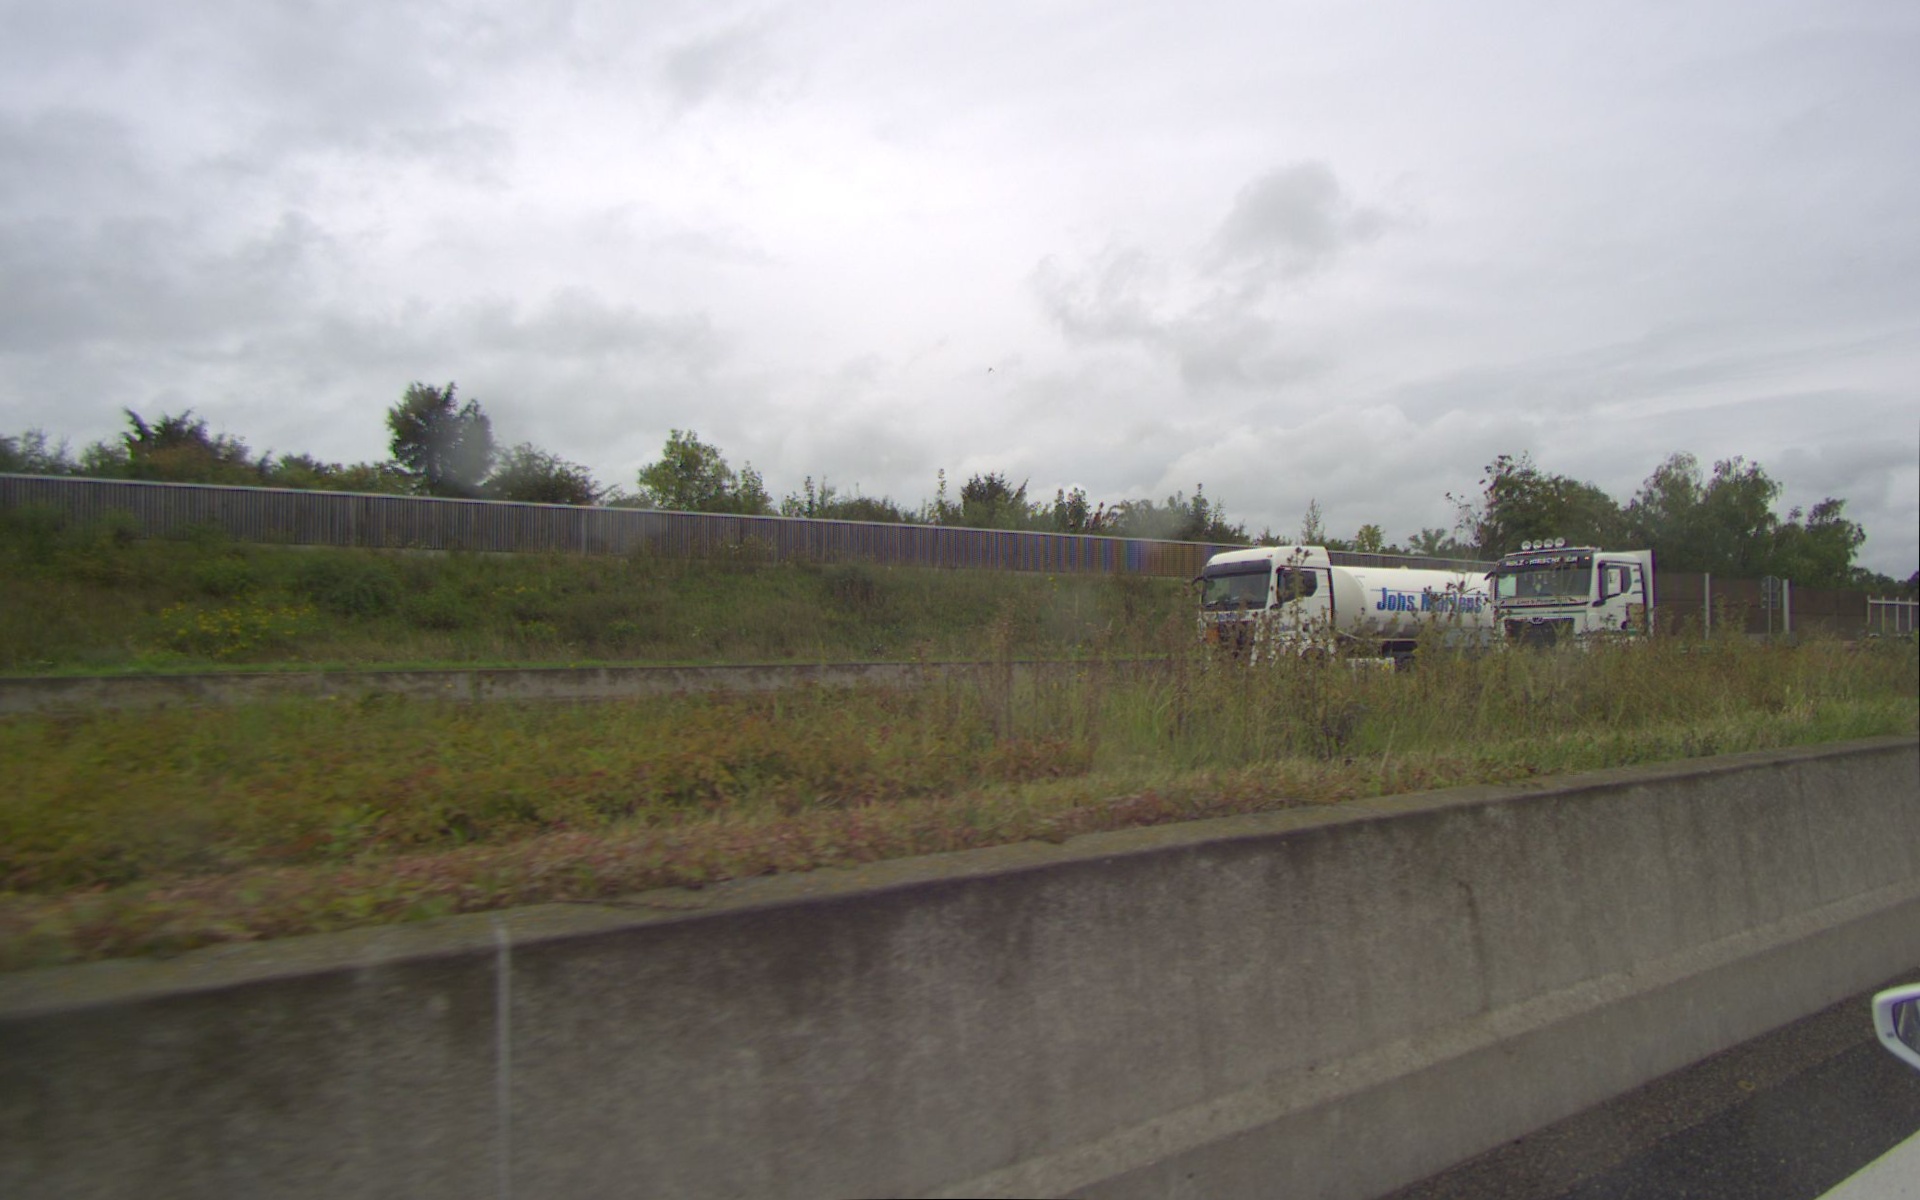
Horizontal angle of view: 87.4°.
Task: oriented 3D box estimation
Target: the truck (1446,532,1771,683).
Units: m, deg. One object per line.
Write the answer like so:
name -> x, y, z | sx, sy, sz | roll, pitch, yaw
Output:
truck -> 15.742, 0.229, 24.149 | 8.624, 3.108, 2.942 | 1, 0, -30

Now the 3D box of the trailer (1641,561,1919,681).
trailer -> 24.024, 0.610, 29.002 | 10.443, 2.999, 2.942 | 1, 0, -30

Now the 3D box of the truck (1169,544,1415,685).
truck -> 8.075, 0.359, 24.369 | 5.546, 3.060, 2.609 | 1, 0, -30

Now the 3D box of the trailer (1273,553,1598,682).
trailer -> 13.267, 0.503, 27.462 | 10.673, 3.029, 2.598 | 1, 0, -31
